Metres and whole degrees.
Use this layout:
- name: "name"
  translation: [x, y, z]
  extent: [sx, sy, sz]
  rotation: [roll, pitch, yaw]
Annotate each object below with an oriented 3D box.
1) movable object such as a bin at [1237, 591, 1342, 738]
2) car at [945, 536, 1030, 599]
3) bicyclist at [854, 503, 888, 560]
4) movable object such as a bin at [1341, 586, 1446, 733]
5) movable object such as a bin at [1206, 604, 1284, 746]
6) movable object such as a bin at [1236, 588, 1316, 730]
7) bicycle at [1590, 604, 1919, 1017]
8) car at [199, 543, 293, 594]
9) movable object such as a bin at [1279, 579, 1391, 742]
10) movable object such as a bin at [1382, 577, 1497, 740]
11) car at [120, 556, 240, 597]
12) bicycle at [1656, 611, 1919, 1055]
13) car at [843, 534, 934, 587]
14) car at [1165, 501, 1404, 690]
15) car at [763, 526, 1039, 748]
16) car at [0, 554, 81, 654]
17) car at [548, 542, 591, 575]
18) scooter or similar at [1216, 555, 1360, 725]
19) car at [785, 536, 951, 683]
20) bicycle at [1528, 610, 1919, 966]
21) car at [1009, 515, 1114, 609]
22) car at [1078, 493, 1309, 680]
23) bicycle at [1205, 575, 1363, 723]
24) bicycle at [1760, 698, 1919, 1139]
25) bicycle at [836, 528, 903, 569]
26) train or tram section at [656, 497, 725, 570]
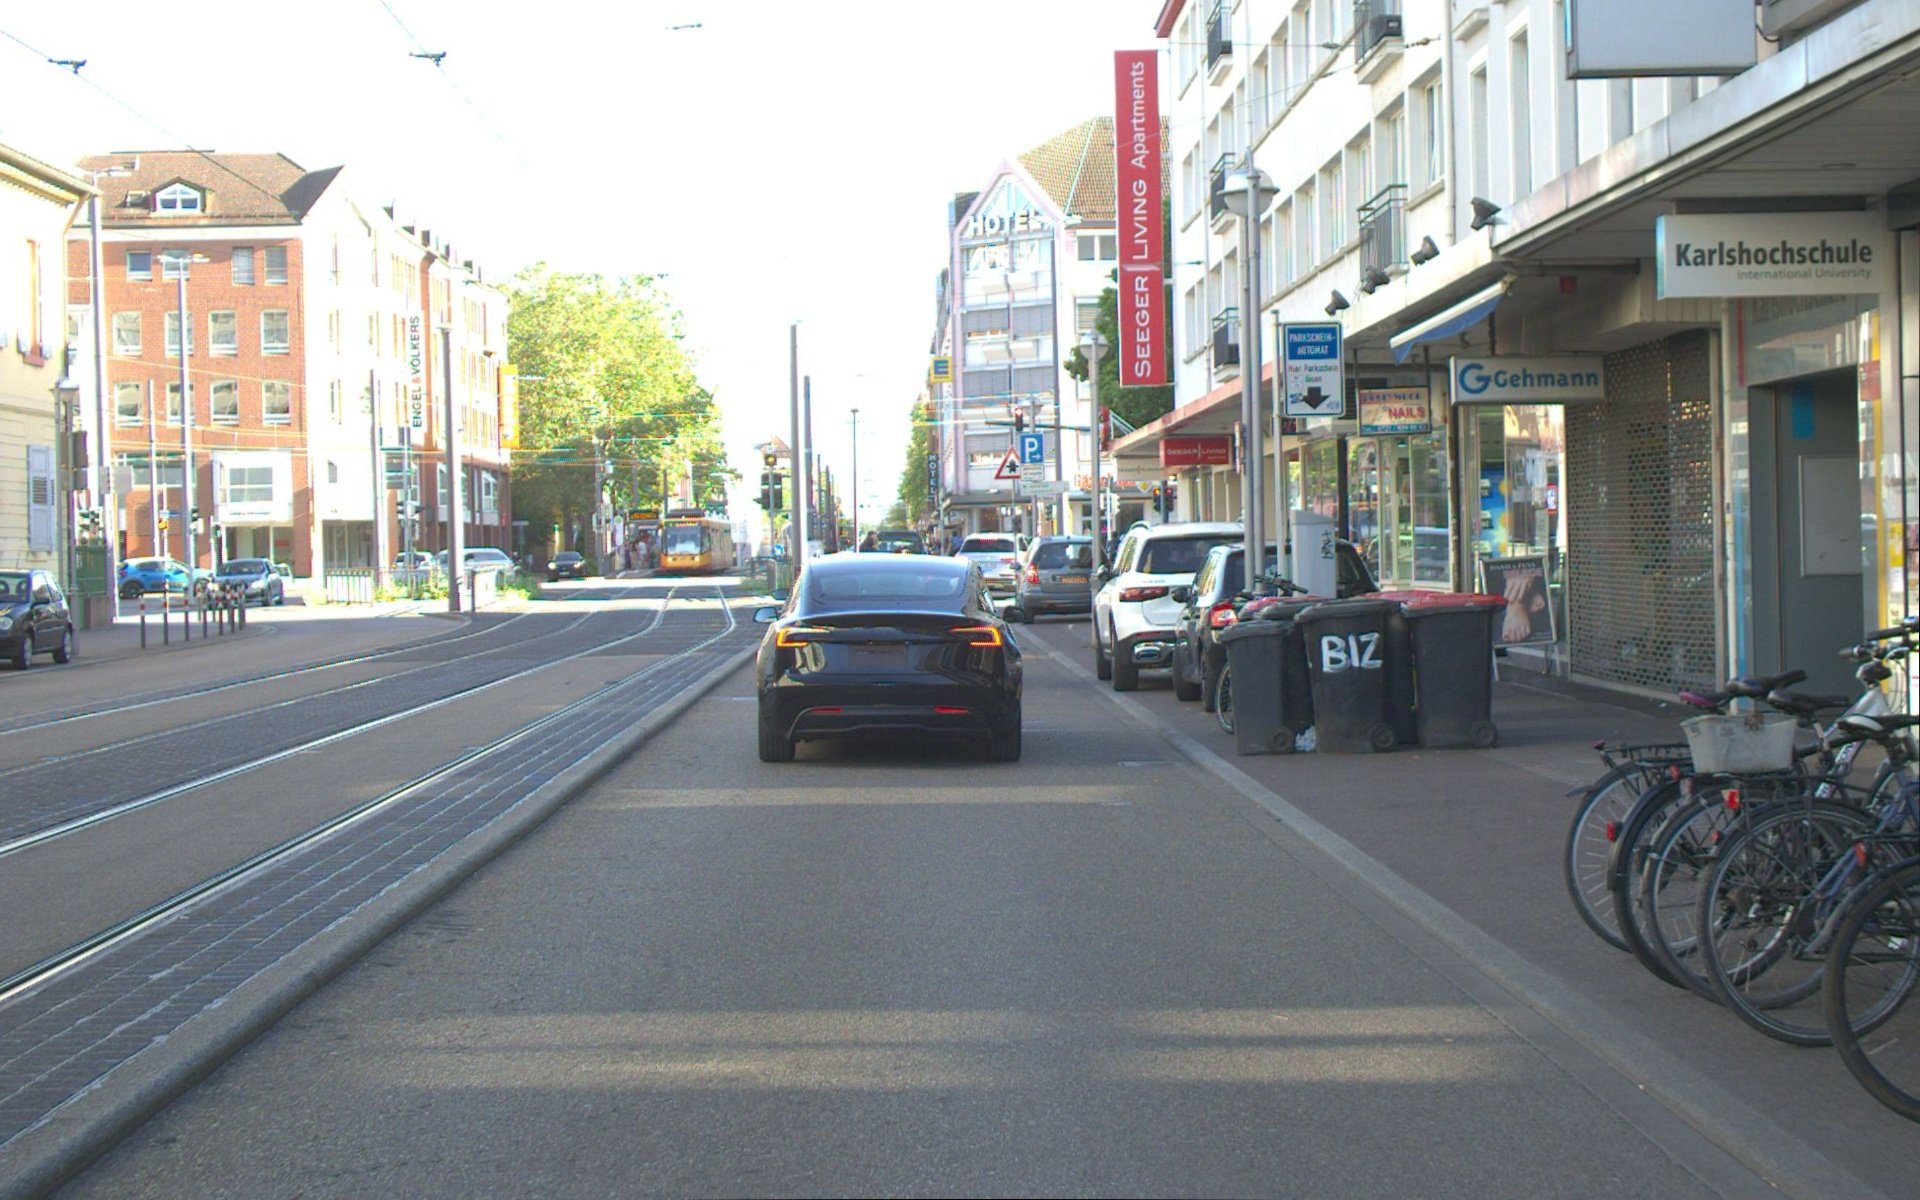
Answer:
- name: "movable object such as a bin"
  translation: [2.354, 0.456, 24.623]
  extent: [0.686, 1.010, 0.508]
  rotation: [-2, 1, 2]
- name: "car"
  translation: [0.666, -0.830, 86.139]
  extent: [1.783, 1.514, 4.219]
  rotation: [1, 1, -4]
- name: "bicyclist"
  translation: [-2.401, -1.843, 92.490]
  extent: [0.836, 1.494, 0.560]
  rotation: [1, 1, -8]
- name: "movable object such as a bin"
  translation: [3.100, 0.418, 24.600]
  extent: [0.658, 1.010, 0.636]
  rotation: [-2, 1, 2]
- name: "movable object such as a bin"
  translation: [1.987, 0.519, 24.024]
  extent: [0.487, 0.955, 0.457]
  rotation: [-2, 1, 2]
- name: "movable object such as a bin"
  translation: [2.324, 0.429, 25.321]
  extent: [0.522, 1.010, 0.671]
  rotation: [-2, 1, 2]
- name: "bicycle"
  translation: [2.971, 0.634, 10.880]
  extent: [1.787, 1.213, 0.669]
  rotation: [-2, 1, -1]
- name: "car"
  translation: [-21.193, -0.933, 102.147]
  extent: [1.903, 1.459, 4.000]
  rotation: [1, 1, 1]
- name: "movable object such as a bin"
  translation: [2.602, 0.415, 23.925]
  extent: [0.690, 1.085, 0.685]
  rotation: [-2, 1, 2]
- name: "movable object such as a bin"
  translation: [3.329, 0.401, 23.896]
  extent: [0.690, 1.085, 0.666]
  rotation: [-2, 1, 2]
- name: "car"
  translation: [-28.432, -0.858, 125.368]
  extent: [1.997, 1.415, 3.992]
  rotation: [1, 1, 34]
- name: "bicycle"
  translation: [3.003, 0.643, 10.029]
  extent: [1.787, 1.213, 0.587]
  rotation: [-2, 1, -1]
- name: "car"
  translation: [-2.161, -1.195, 102.379]
  extent: [1.824, 1.514, 4.219]
  rotation: [1, 1, -14]
- name: "car"
  translation: [2.841, -0.068, 30.840]
  extent: [1.614, 1.523, 4.071]
  rotation: [-2, 1, -1]
- name: "car"
  translation: [-0.463, 0.223, 24.969]
  extent: [1.849, 1.479, 3.787]
  rotation: [0, 1, -2]
- name: "car"
  translation: [-14.228, 0.031, 50.765]
  extent: [1.614, 1.396, 3.720]
  rotation: [1, 1, -1]
- name: "car"
  translation: [-20.100, -2.132, 176.950]
  extent: [1.751, 1.645, 4.000]
  rotation: [1, 1, 0]
- name: "scooter or similar"
  translation: [2.477, 0.296, 25.977]
  extent: [0.992, 1.227, 0.320]
  rotation: [-3, 1, -2]
- name: "car"
  translation: [-0.931, 0.060, 36.511]
  extent: [1.653, 1.413, 4.000]
  rotation: [1, 2, 0]
- name: "bicycle"
  translation: [2.979, 0.639, 12.147]
  extent: [1.787, 1.155, 0.669]
  rotation: [-2, 1, -1]
- name: "car"
  translation: [1.860, -0.732, 63.792]
  extent: [1.745, 1.626, 3.649]
  rotation: [-2, 1, 0]
- name: "car"
  translation: [2.355, -0.171, 35.945]
  extent: [1.849, 1.718, 5.193]
  rotation: [-3, 1, -1]
- name: "bicycle"
  translation: [2.489, 0.372, 26.460]
  extent: [1.131, 1.076, 0.320]
  rotation: [-3, 1, -2]
- name: "bicycle"
  translation: [2.991, 0.758, 8.664]
  extent: [1.773, 1.028, 0.597]
  rotation: [-2, 1, -1]
- name: "bicycle"
  translation: [-2.429, -1.381, 92.474]
  extent: [1.727, 1.084, 0.678]
  rotation: [1, 1, -8]
- name: "train or tram section"
  translation: [-14.339, -3.506, 183.848]
  extent: [2.674, 3.703, 14.193]
  rotation: [1, 1, 0]
